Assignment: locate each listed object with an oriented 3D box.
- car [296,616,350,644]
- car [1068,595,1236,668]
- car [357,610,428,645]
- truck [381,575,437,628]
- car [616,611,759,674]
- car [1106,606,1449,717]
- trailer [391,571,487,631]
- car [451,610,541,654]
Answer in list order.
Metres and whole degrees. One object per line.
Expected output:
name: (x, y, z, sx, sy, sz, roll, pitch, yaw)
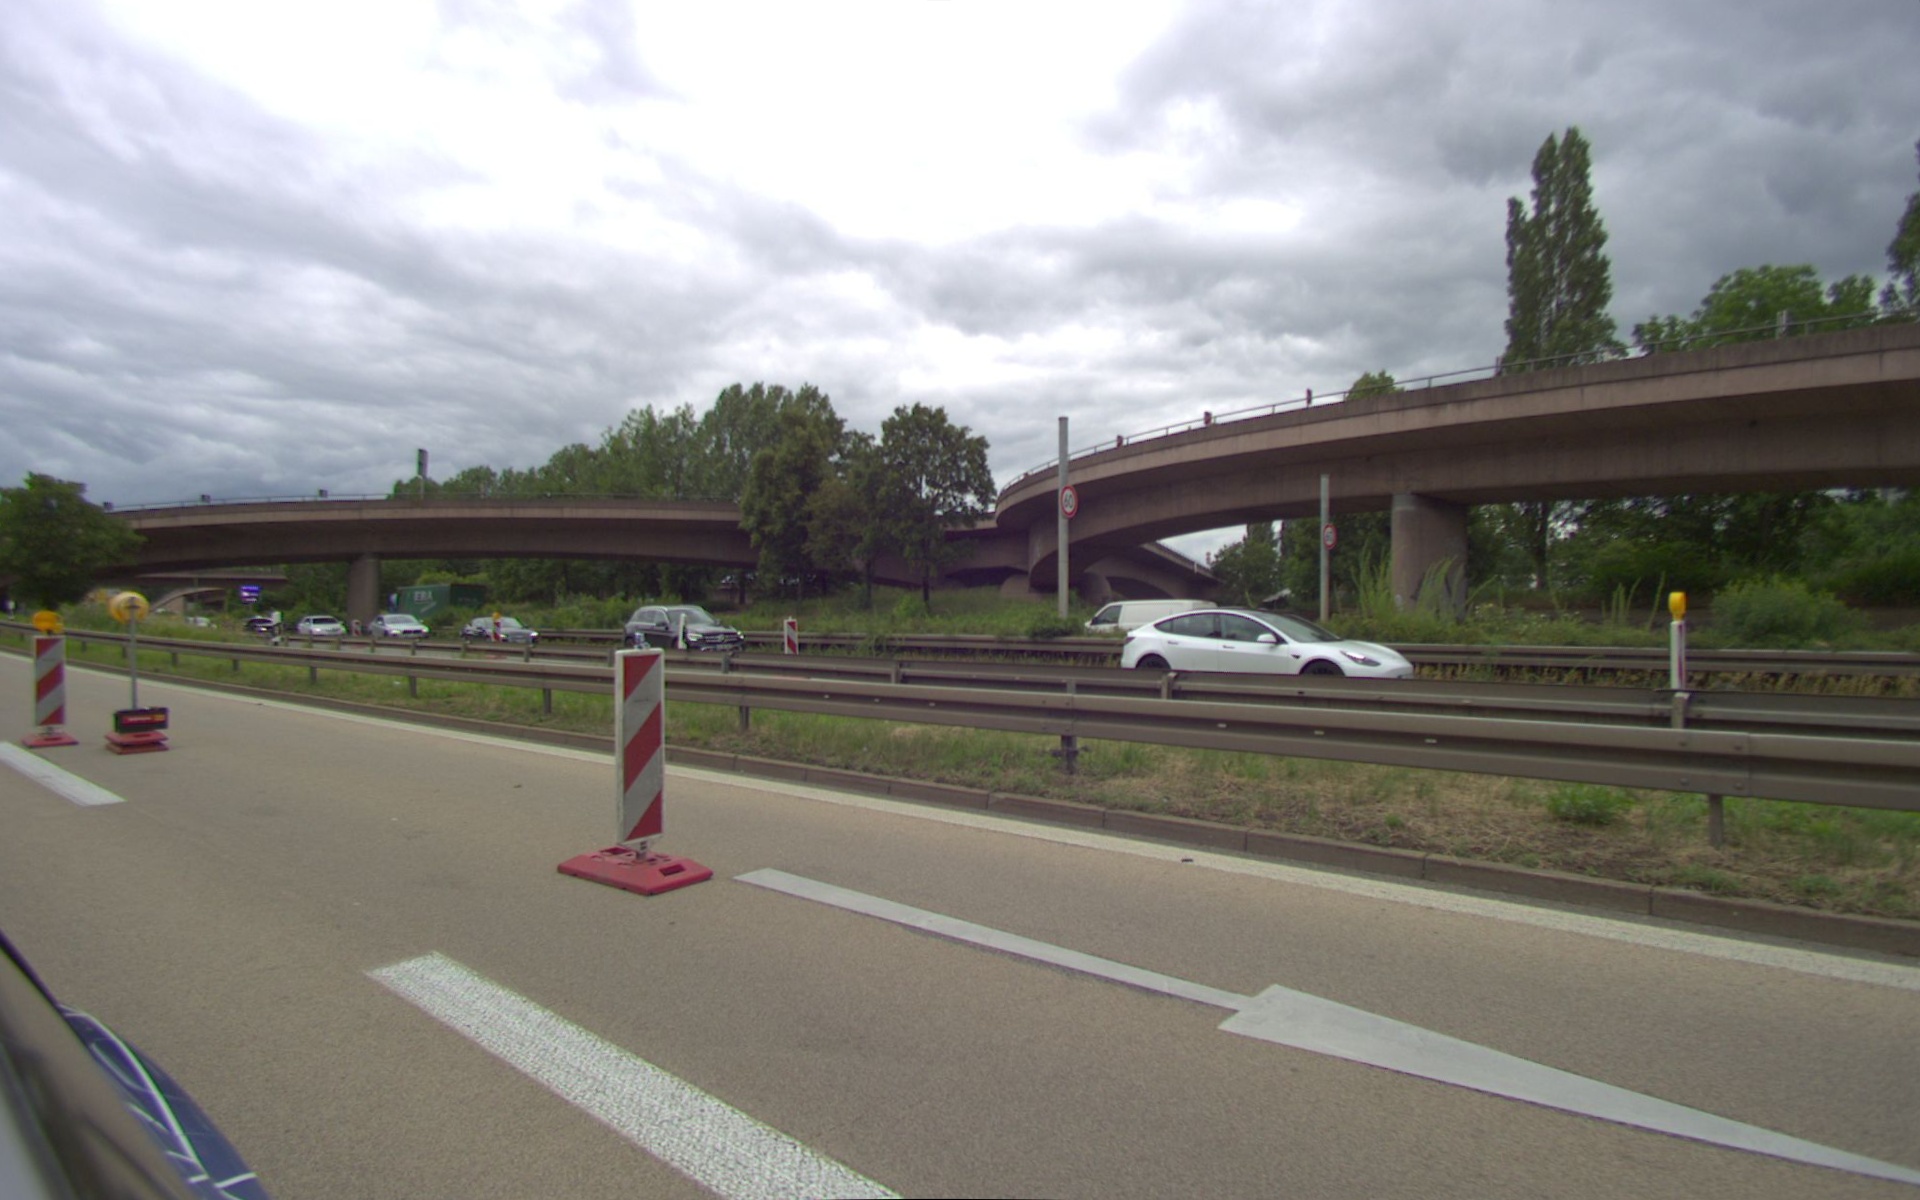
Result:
car: (-38.934, 1.808, 61.854, 2.013, 1.627, 4.298, 1, -1, -43)
car: (5.750, 0.909, 30.664, 4.708, 2.029, 1.972, 0, -1, 43)
car: (-27.589, 1.306, 49.145, 2.013, 1.627, 4.298, 1, -1, -43)
truck: (-46.218, 0.183, 84.871, 2.720, 4.304, 5.507, 1, -1, -44)
car: (-7.786, 1.128, 28.650, 2.013, 1.627, 4.582, 1, -1, -43)
car: (4.789, 0.840, 15.846, 1.970, 1.466, 4.806, 1, -1, -43)
trailer: (-41.206, 0.136, 79.703, 2.739, 4.327, 13.989, 1, -1, -44)
car: (-18.493, 1.230, 40.251, 2.013, 1.627, 4.298, 1, -1, -43)
